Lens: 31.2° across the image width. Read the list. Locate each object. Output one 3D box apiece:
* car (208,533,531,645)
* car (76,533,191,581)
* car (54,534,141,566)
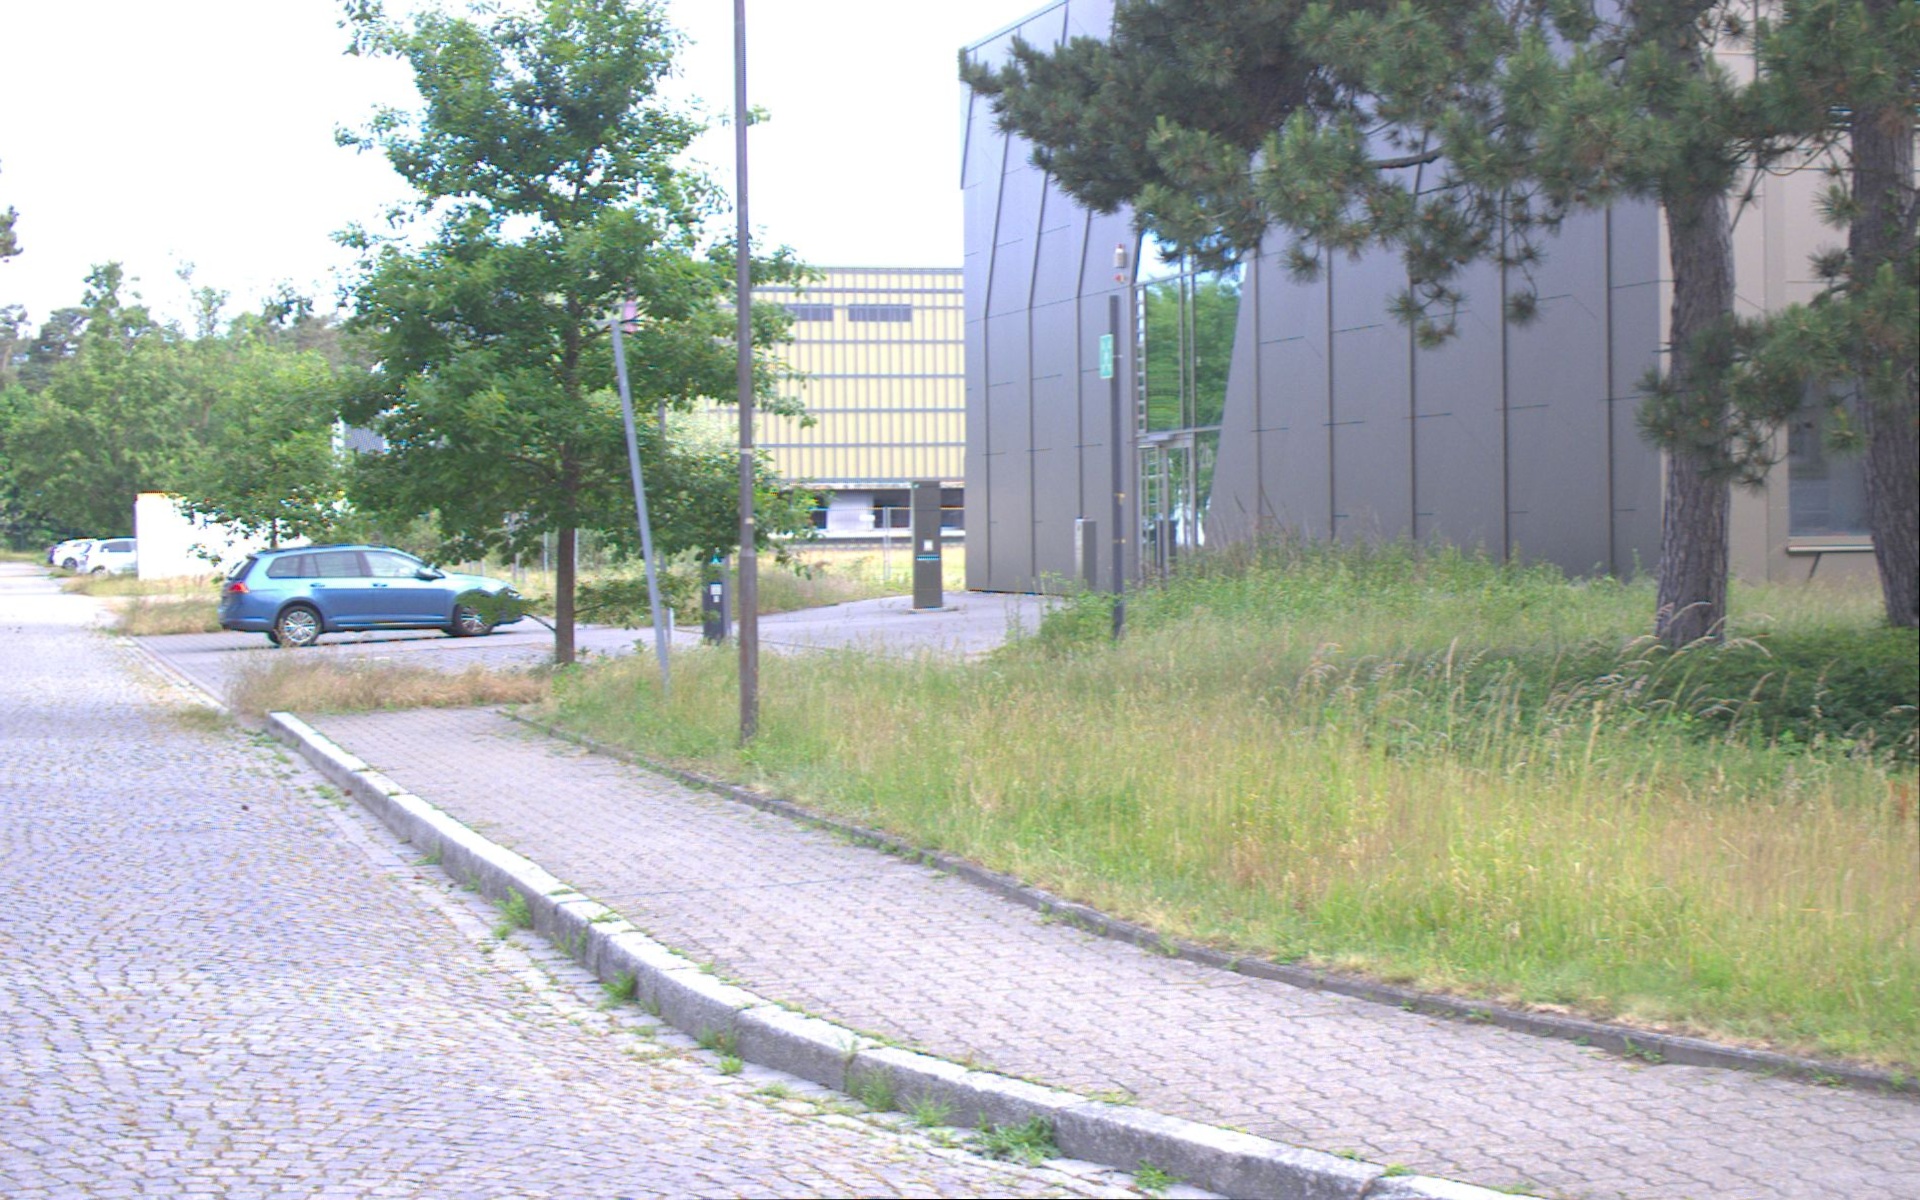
[{"bbox_3d":[-8.922,-0.184,51.914,4.521,1.438,1.824,-3,2,-19],"label":"car"},{"bbox_3d":[-29.475,-1.532,122.553,3.848,1.649,1.687,-1,1,-18],"label":"car"},{"bbox_3d":[-41.899,-2.446,167.009,4.024,1.496,1.549,-1,1,-15],"label":"car"}]
